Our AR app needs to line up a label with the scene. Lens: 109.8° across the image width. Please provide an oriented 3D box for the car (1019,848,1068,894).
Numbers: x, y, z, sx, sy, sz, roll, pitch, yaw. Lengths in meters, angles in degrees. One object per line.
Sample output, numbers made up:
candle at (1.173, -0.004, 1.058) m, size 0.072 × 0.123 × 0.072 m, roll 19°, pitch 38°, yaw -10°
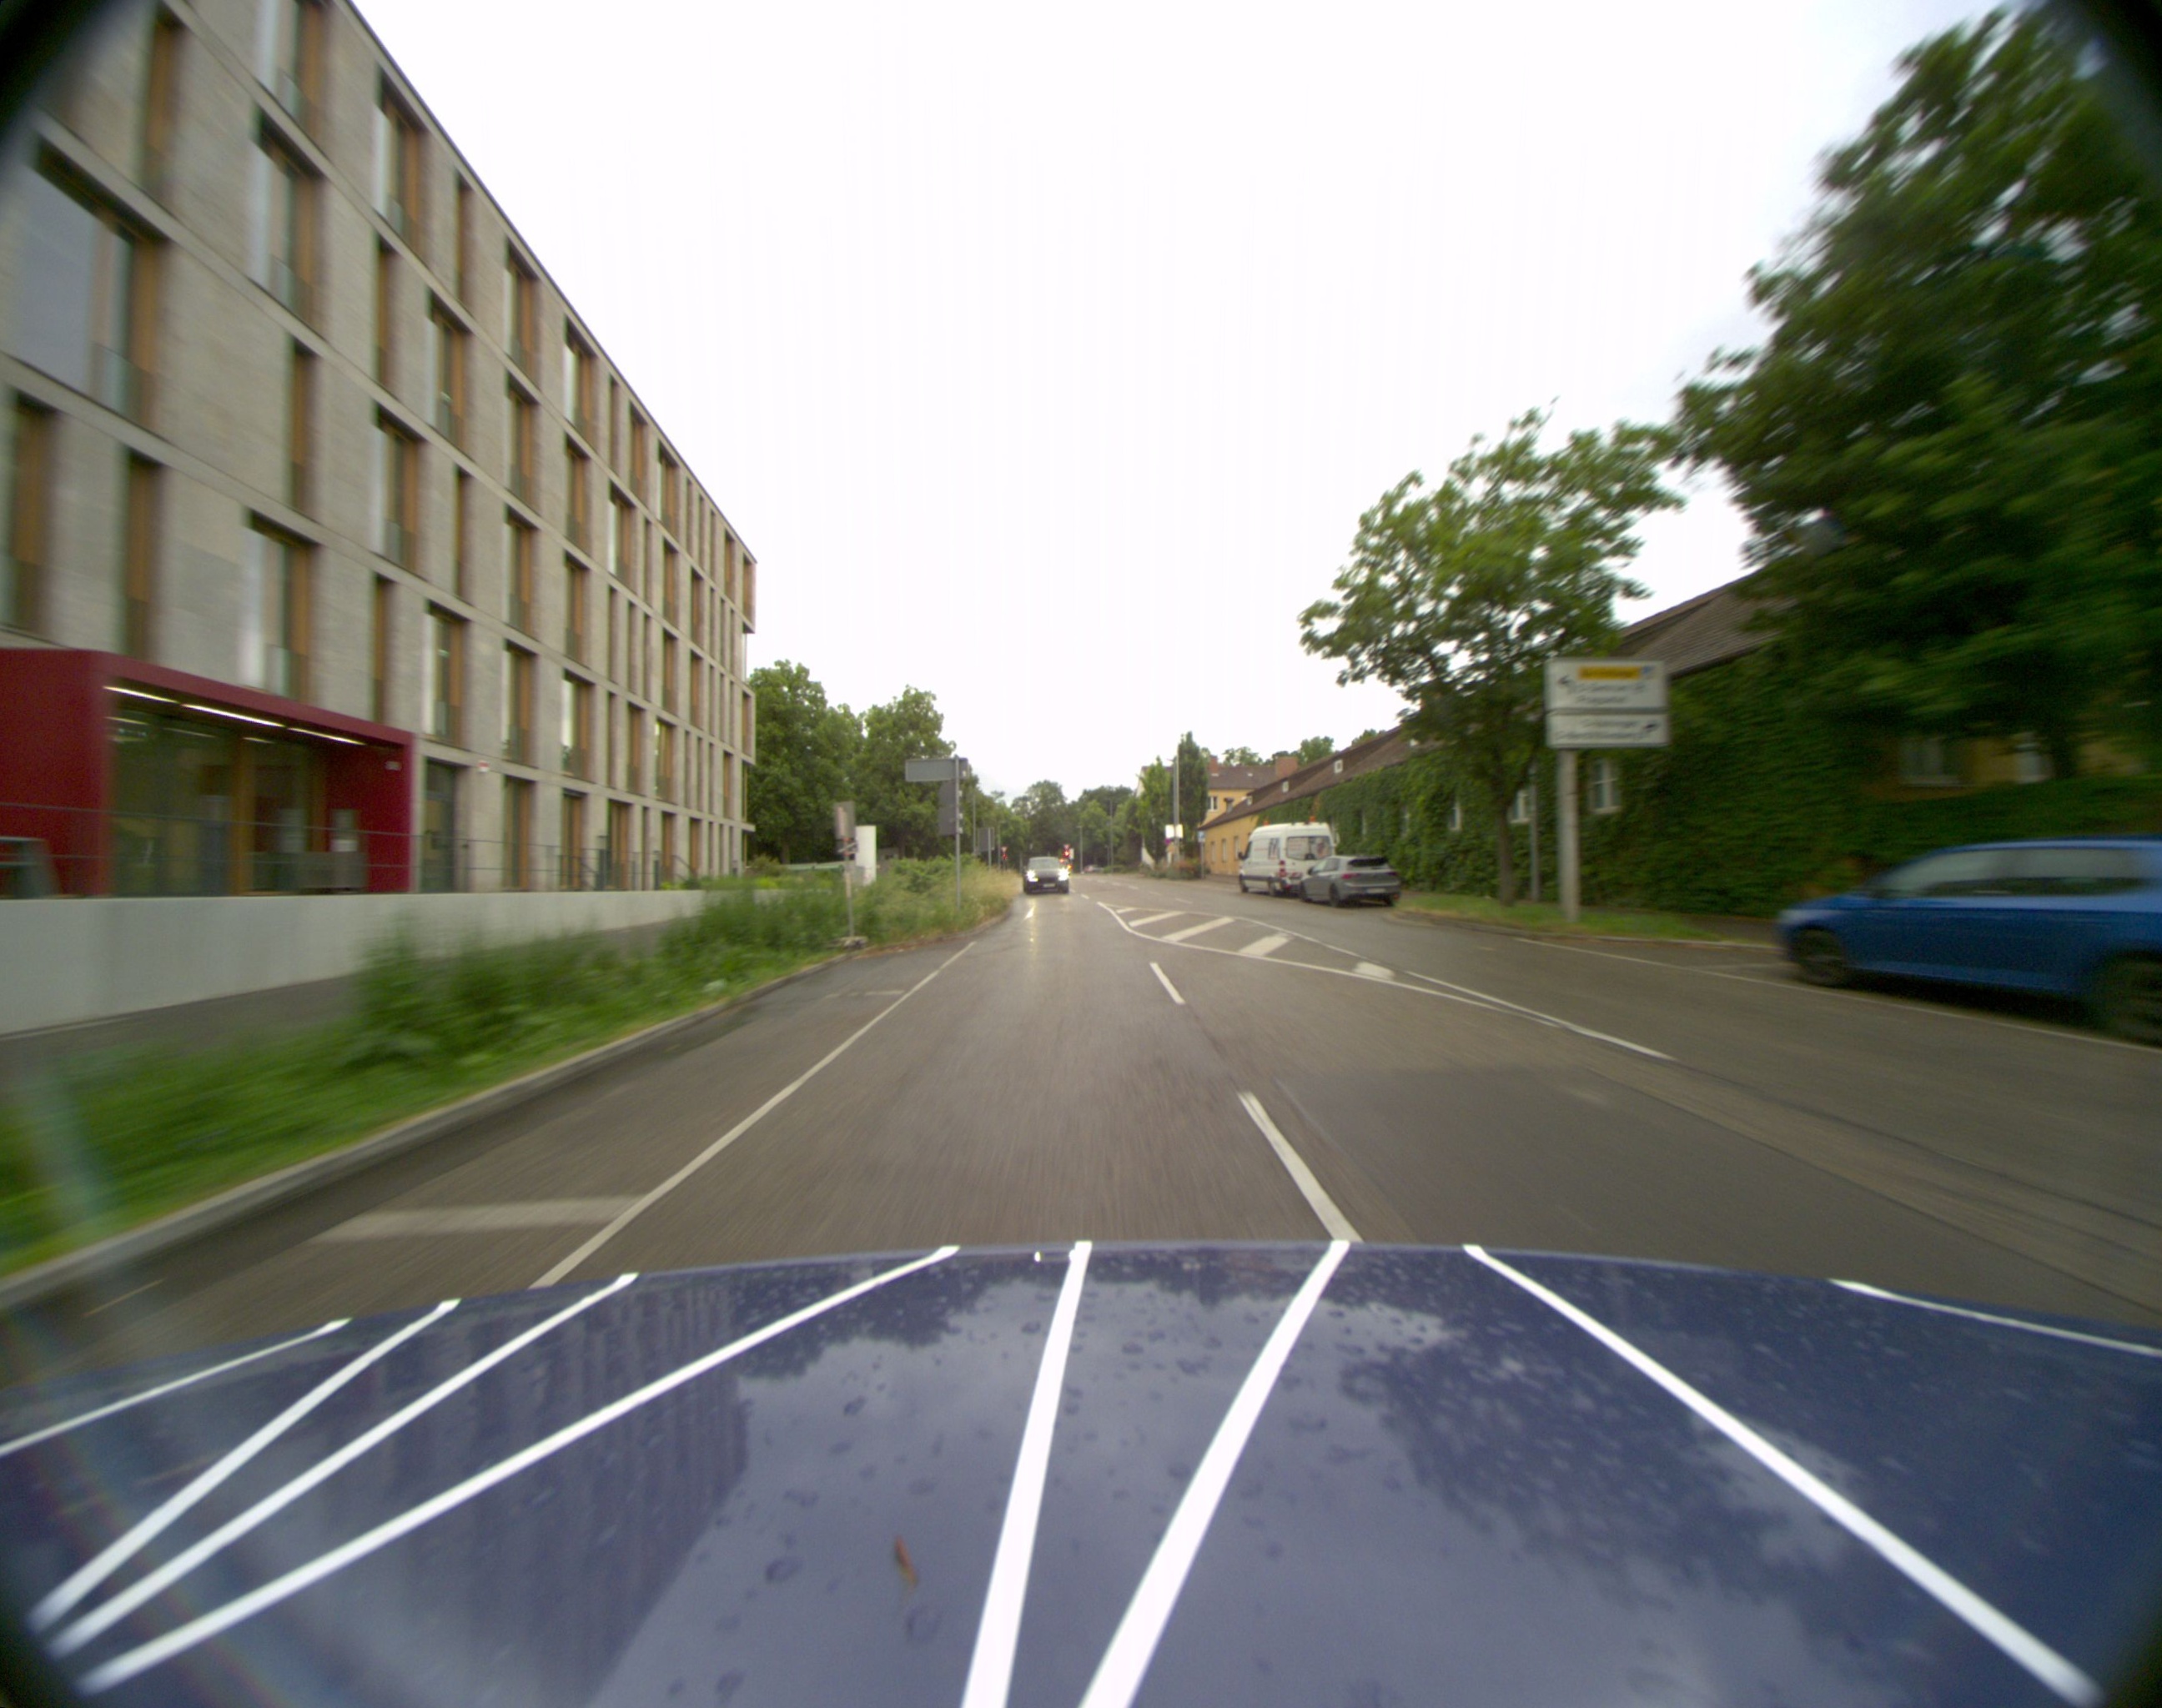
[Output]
car at (-1.852, 0.743, 36.231) m, size 1.849 × 1.961 × 4.340 m, roll -3°, pitch 1°, yaw -8°

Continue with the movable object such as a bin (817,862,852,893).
movable object such as a bin at (-12.571, 1.179, 38.829) m, size 1.250 × 1.449 × 1.111 m, roll -5°, pitch 1°, yaw 3°

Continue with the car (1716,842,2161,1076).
car at (8.135, 0.670, 6.474) m, size 1.998 × 1.461 × 4.186 m, roll -3°, pitch 1°, yaw 2°

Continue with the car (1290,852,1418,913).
car at (7.841, 0.734, 22.318) m, size 1.999 × 1.504 × 4.421 m, roll -3°, pitch 1°, yaw -2°

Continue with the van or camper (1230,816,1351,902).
van or camper at (7.565, 0.168, 28.283) m, size 2.347 × 2.749 × 6.140 m, roll -3°, pitch 0°, yaw -4°

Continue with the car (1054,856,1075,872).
car at (-1.869, 1.091, 86.664) m, size 1.900 × 1.695 × 4.506 m, roll -3°, pitch 1°, yaw -7°

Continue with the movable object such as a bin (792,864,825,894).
movable object such as a bin at (-13.880, 1.262, 38.711) m, size 1.100 × 1.391 × 1.150 m, roll -5°, pitch 1°, yaw 3°
